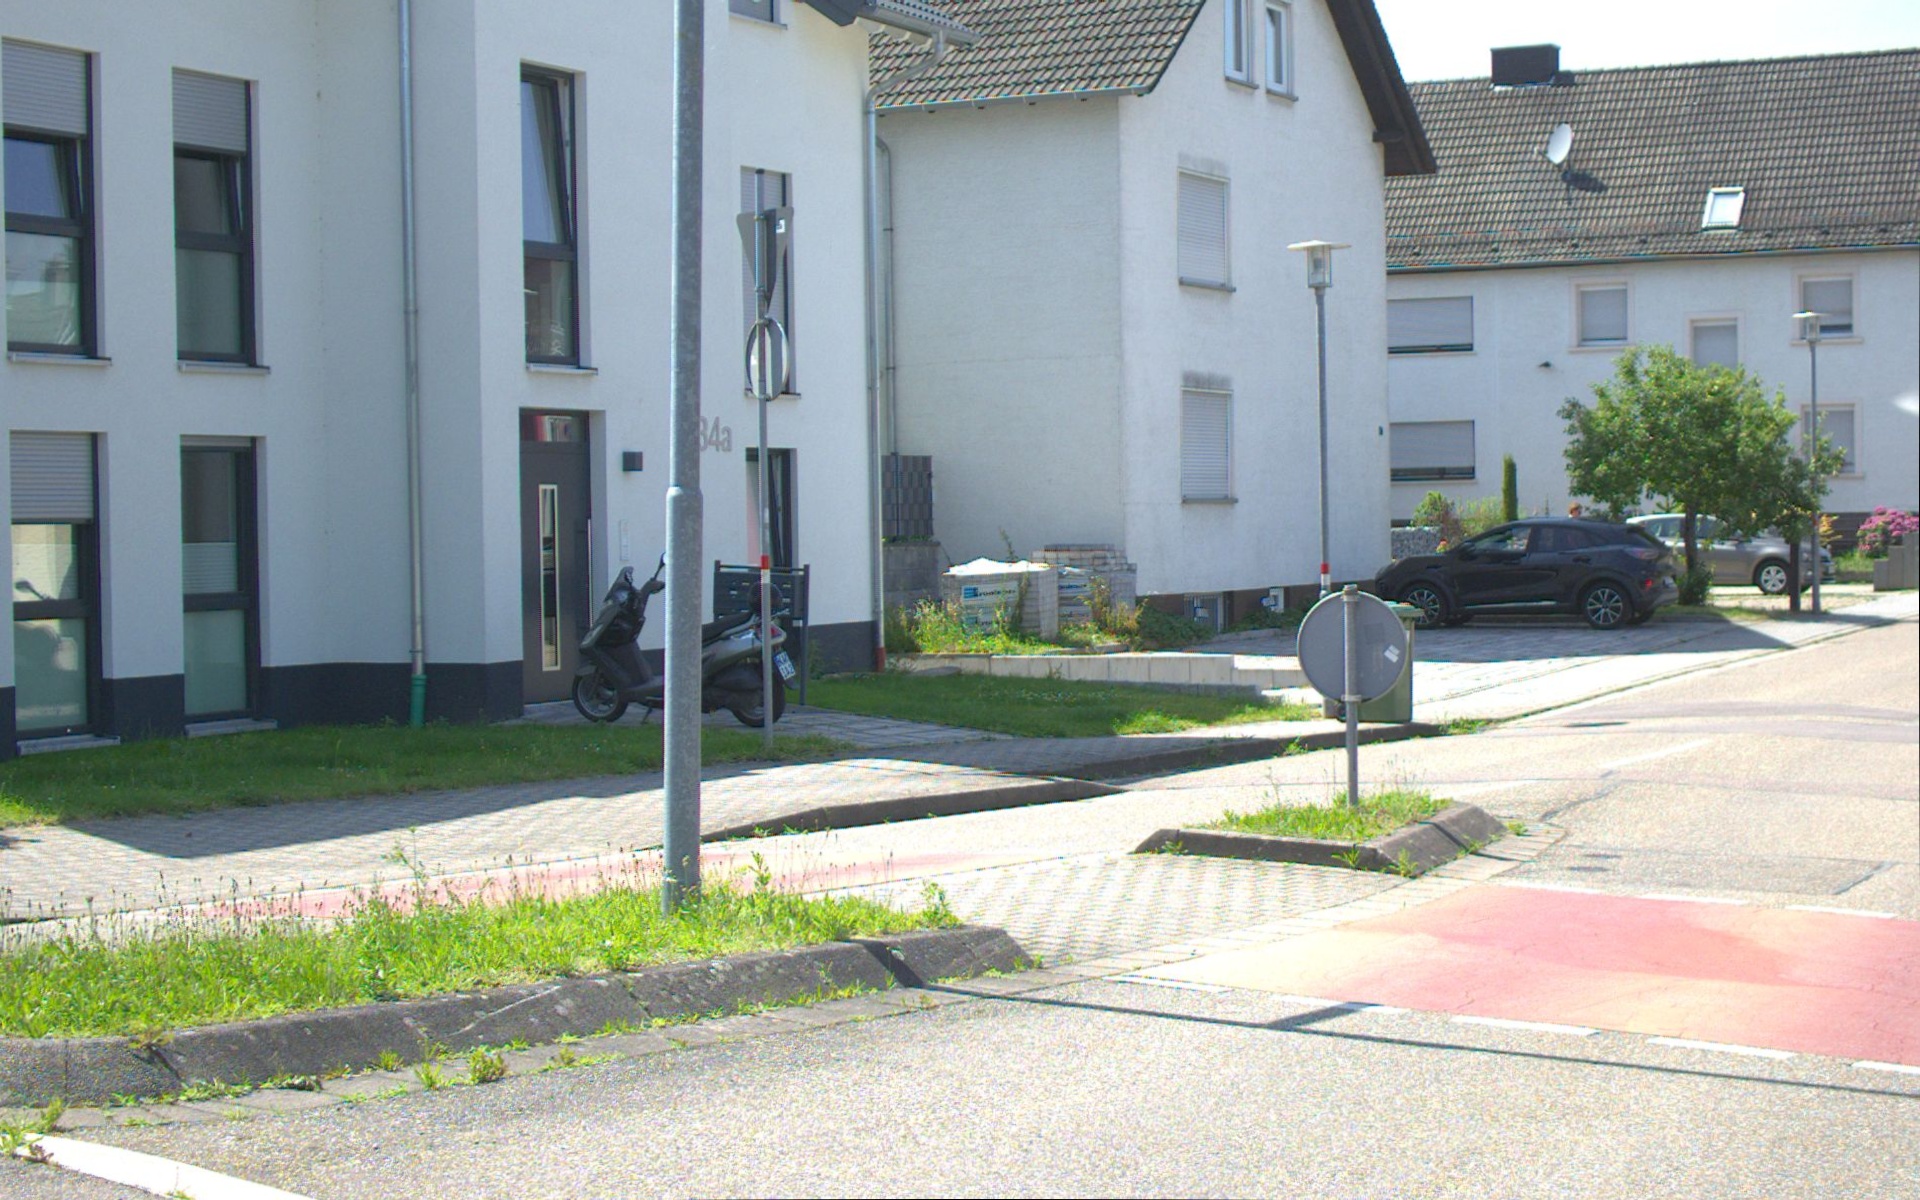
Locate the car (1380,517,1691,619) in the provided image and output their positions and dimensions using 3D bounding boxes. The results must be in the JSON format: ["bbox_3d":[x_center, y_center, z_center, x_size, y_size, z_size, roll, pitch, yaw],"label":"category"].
[{"bbox_3d":[8.005,-0.459,47.843,3.992,1.379,1.658,0,1,23],"label":"car"}]

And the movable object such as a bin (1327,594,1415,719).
[{"bbox_3d":[3.670,0.499,30.678,0.646,1.080,0.458,1,2,33],"label":"movable object such as a bin"}]

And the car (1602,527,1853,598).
[{"bbox_3d":[13.315,-0.662,59.658,3.992,1.186,1.838,0,2,23],"label":"car"}]

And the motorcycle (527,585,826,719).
[{"bbox_3d":[-2.243,0.395,27.035,2.365,1.010,0.670,0,0,29],"label":"motorcycle"}]
